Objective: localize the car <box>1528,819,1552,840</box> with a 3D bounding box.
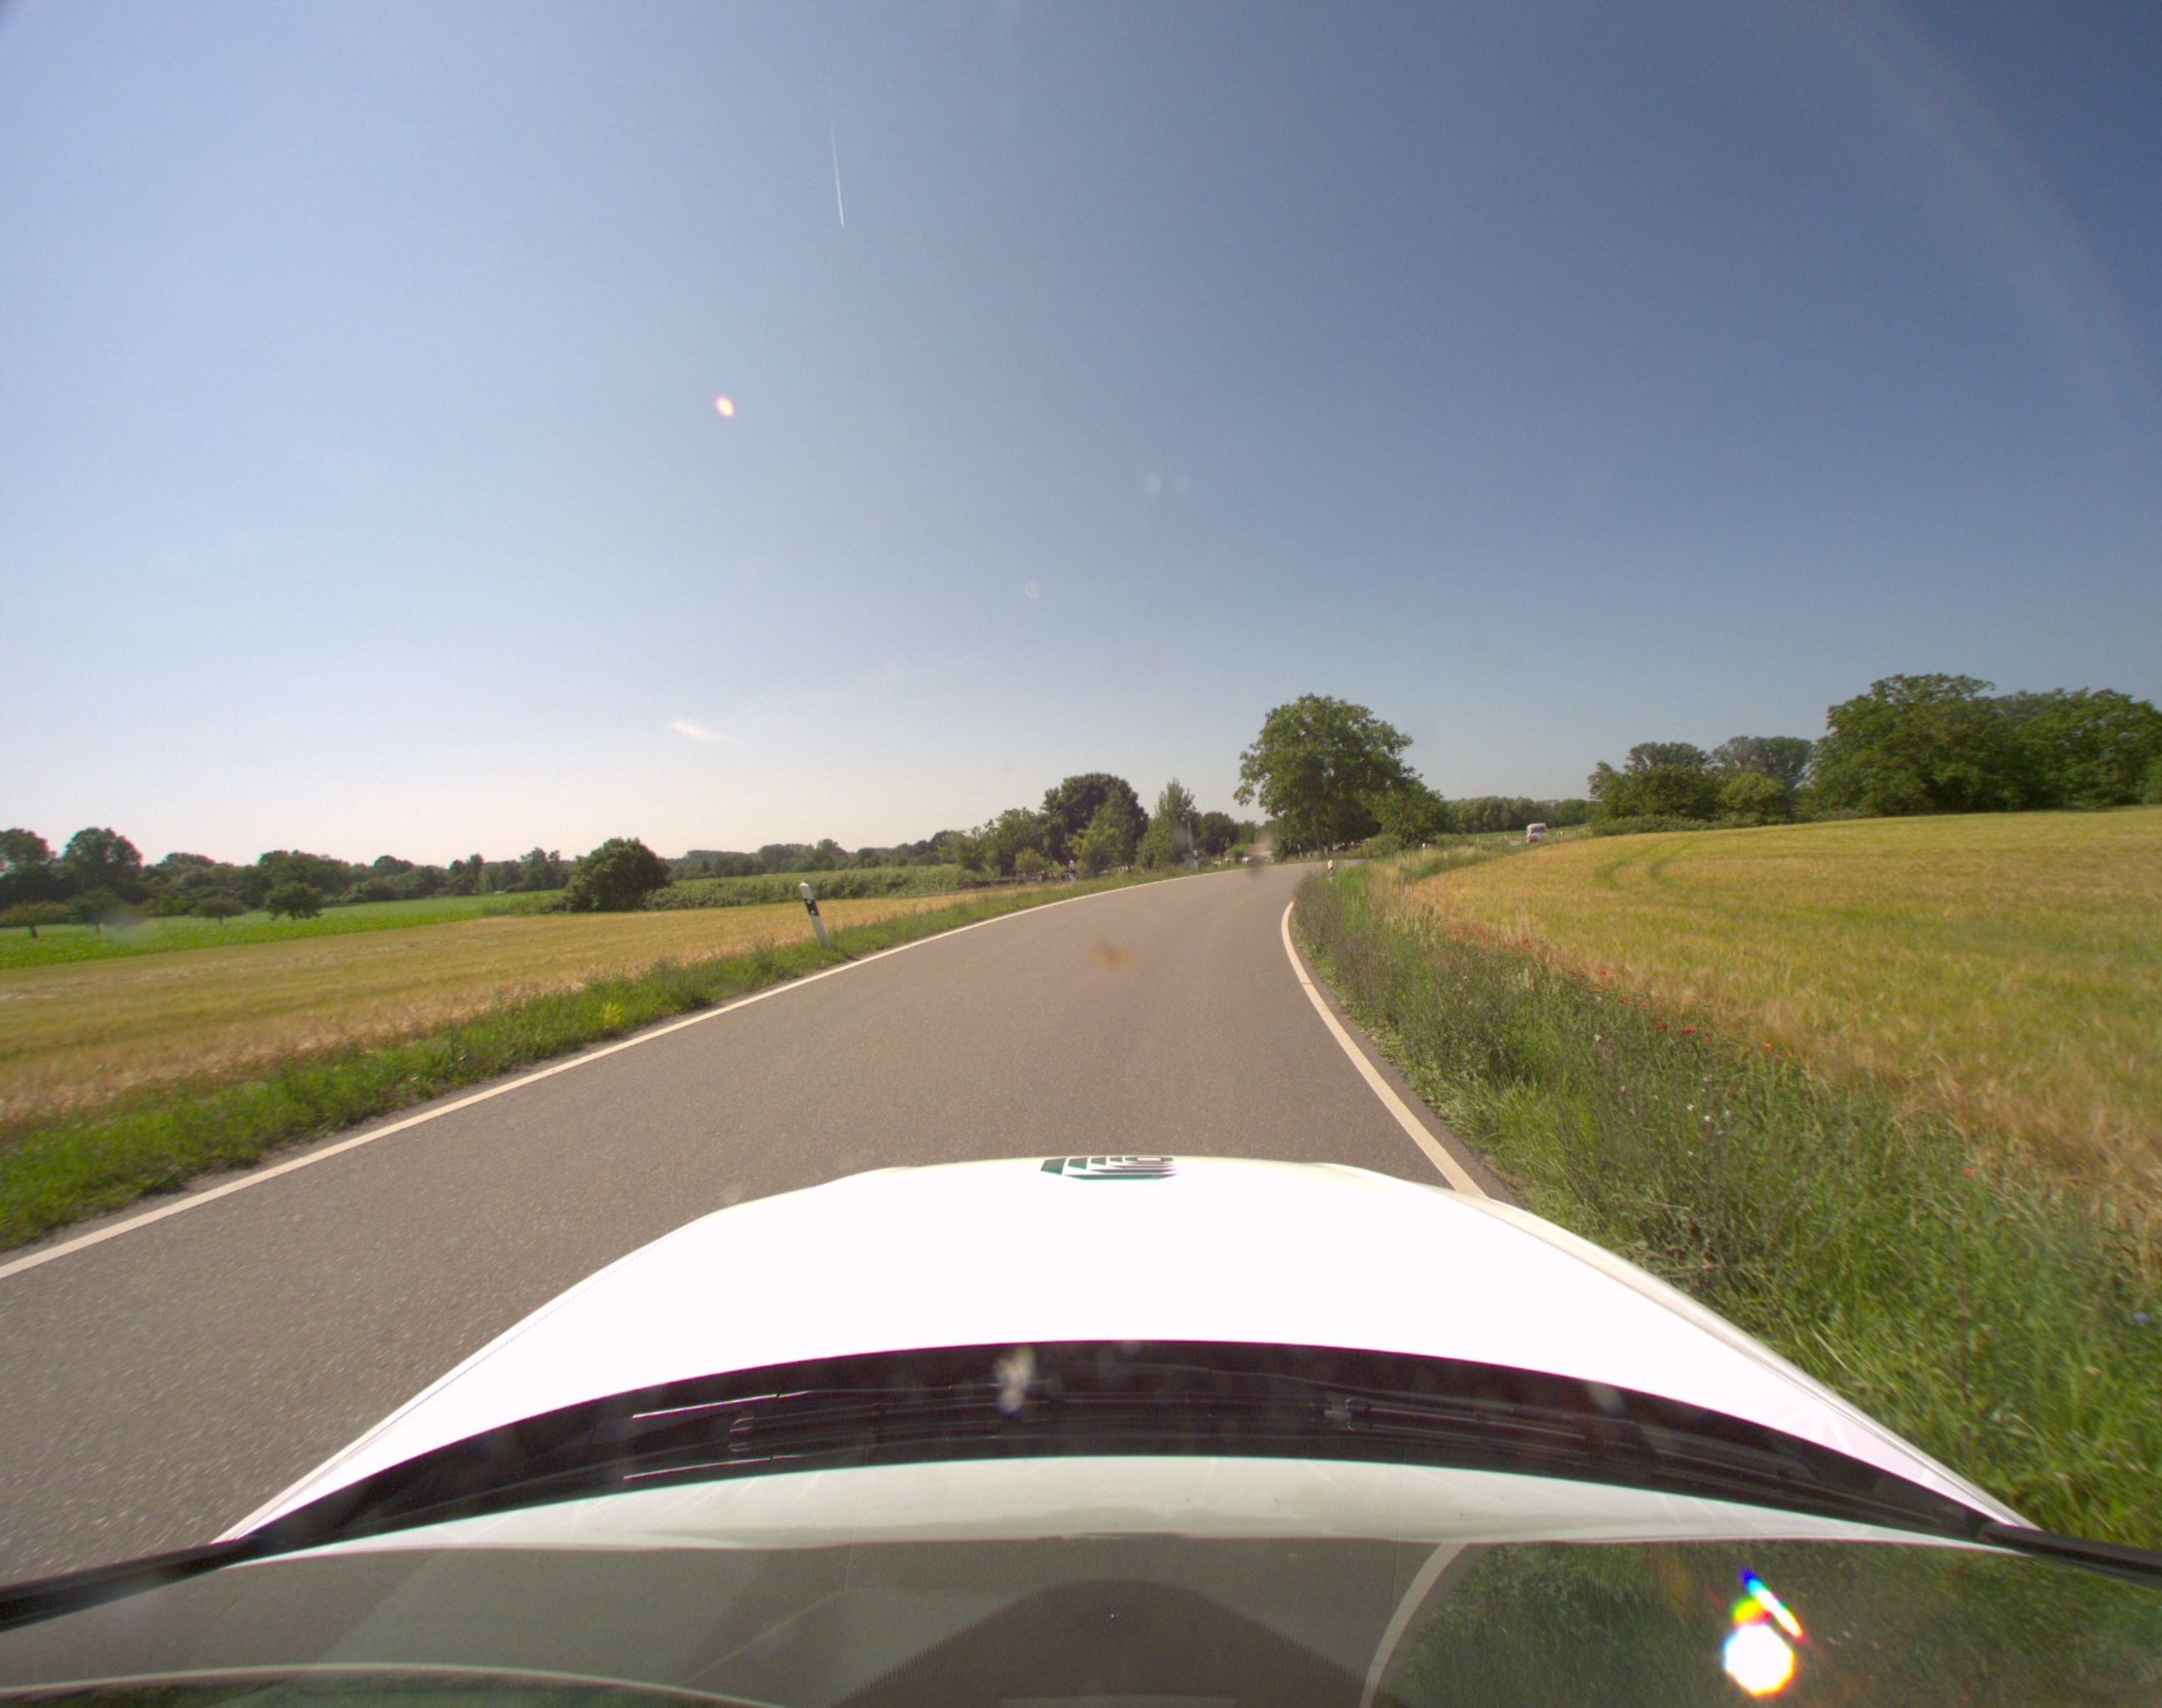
[{"bbox_3d":[55.726,-2.953,98.959,2.084,2.366,5.721,-4,0,26],"label":"car"}]
